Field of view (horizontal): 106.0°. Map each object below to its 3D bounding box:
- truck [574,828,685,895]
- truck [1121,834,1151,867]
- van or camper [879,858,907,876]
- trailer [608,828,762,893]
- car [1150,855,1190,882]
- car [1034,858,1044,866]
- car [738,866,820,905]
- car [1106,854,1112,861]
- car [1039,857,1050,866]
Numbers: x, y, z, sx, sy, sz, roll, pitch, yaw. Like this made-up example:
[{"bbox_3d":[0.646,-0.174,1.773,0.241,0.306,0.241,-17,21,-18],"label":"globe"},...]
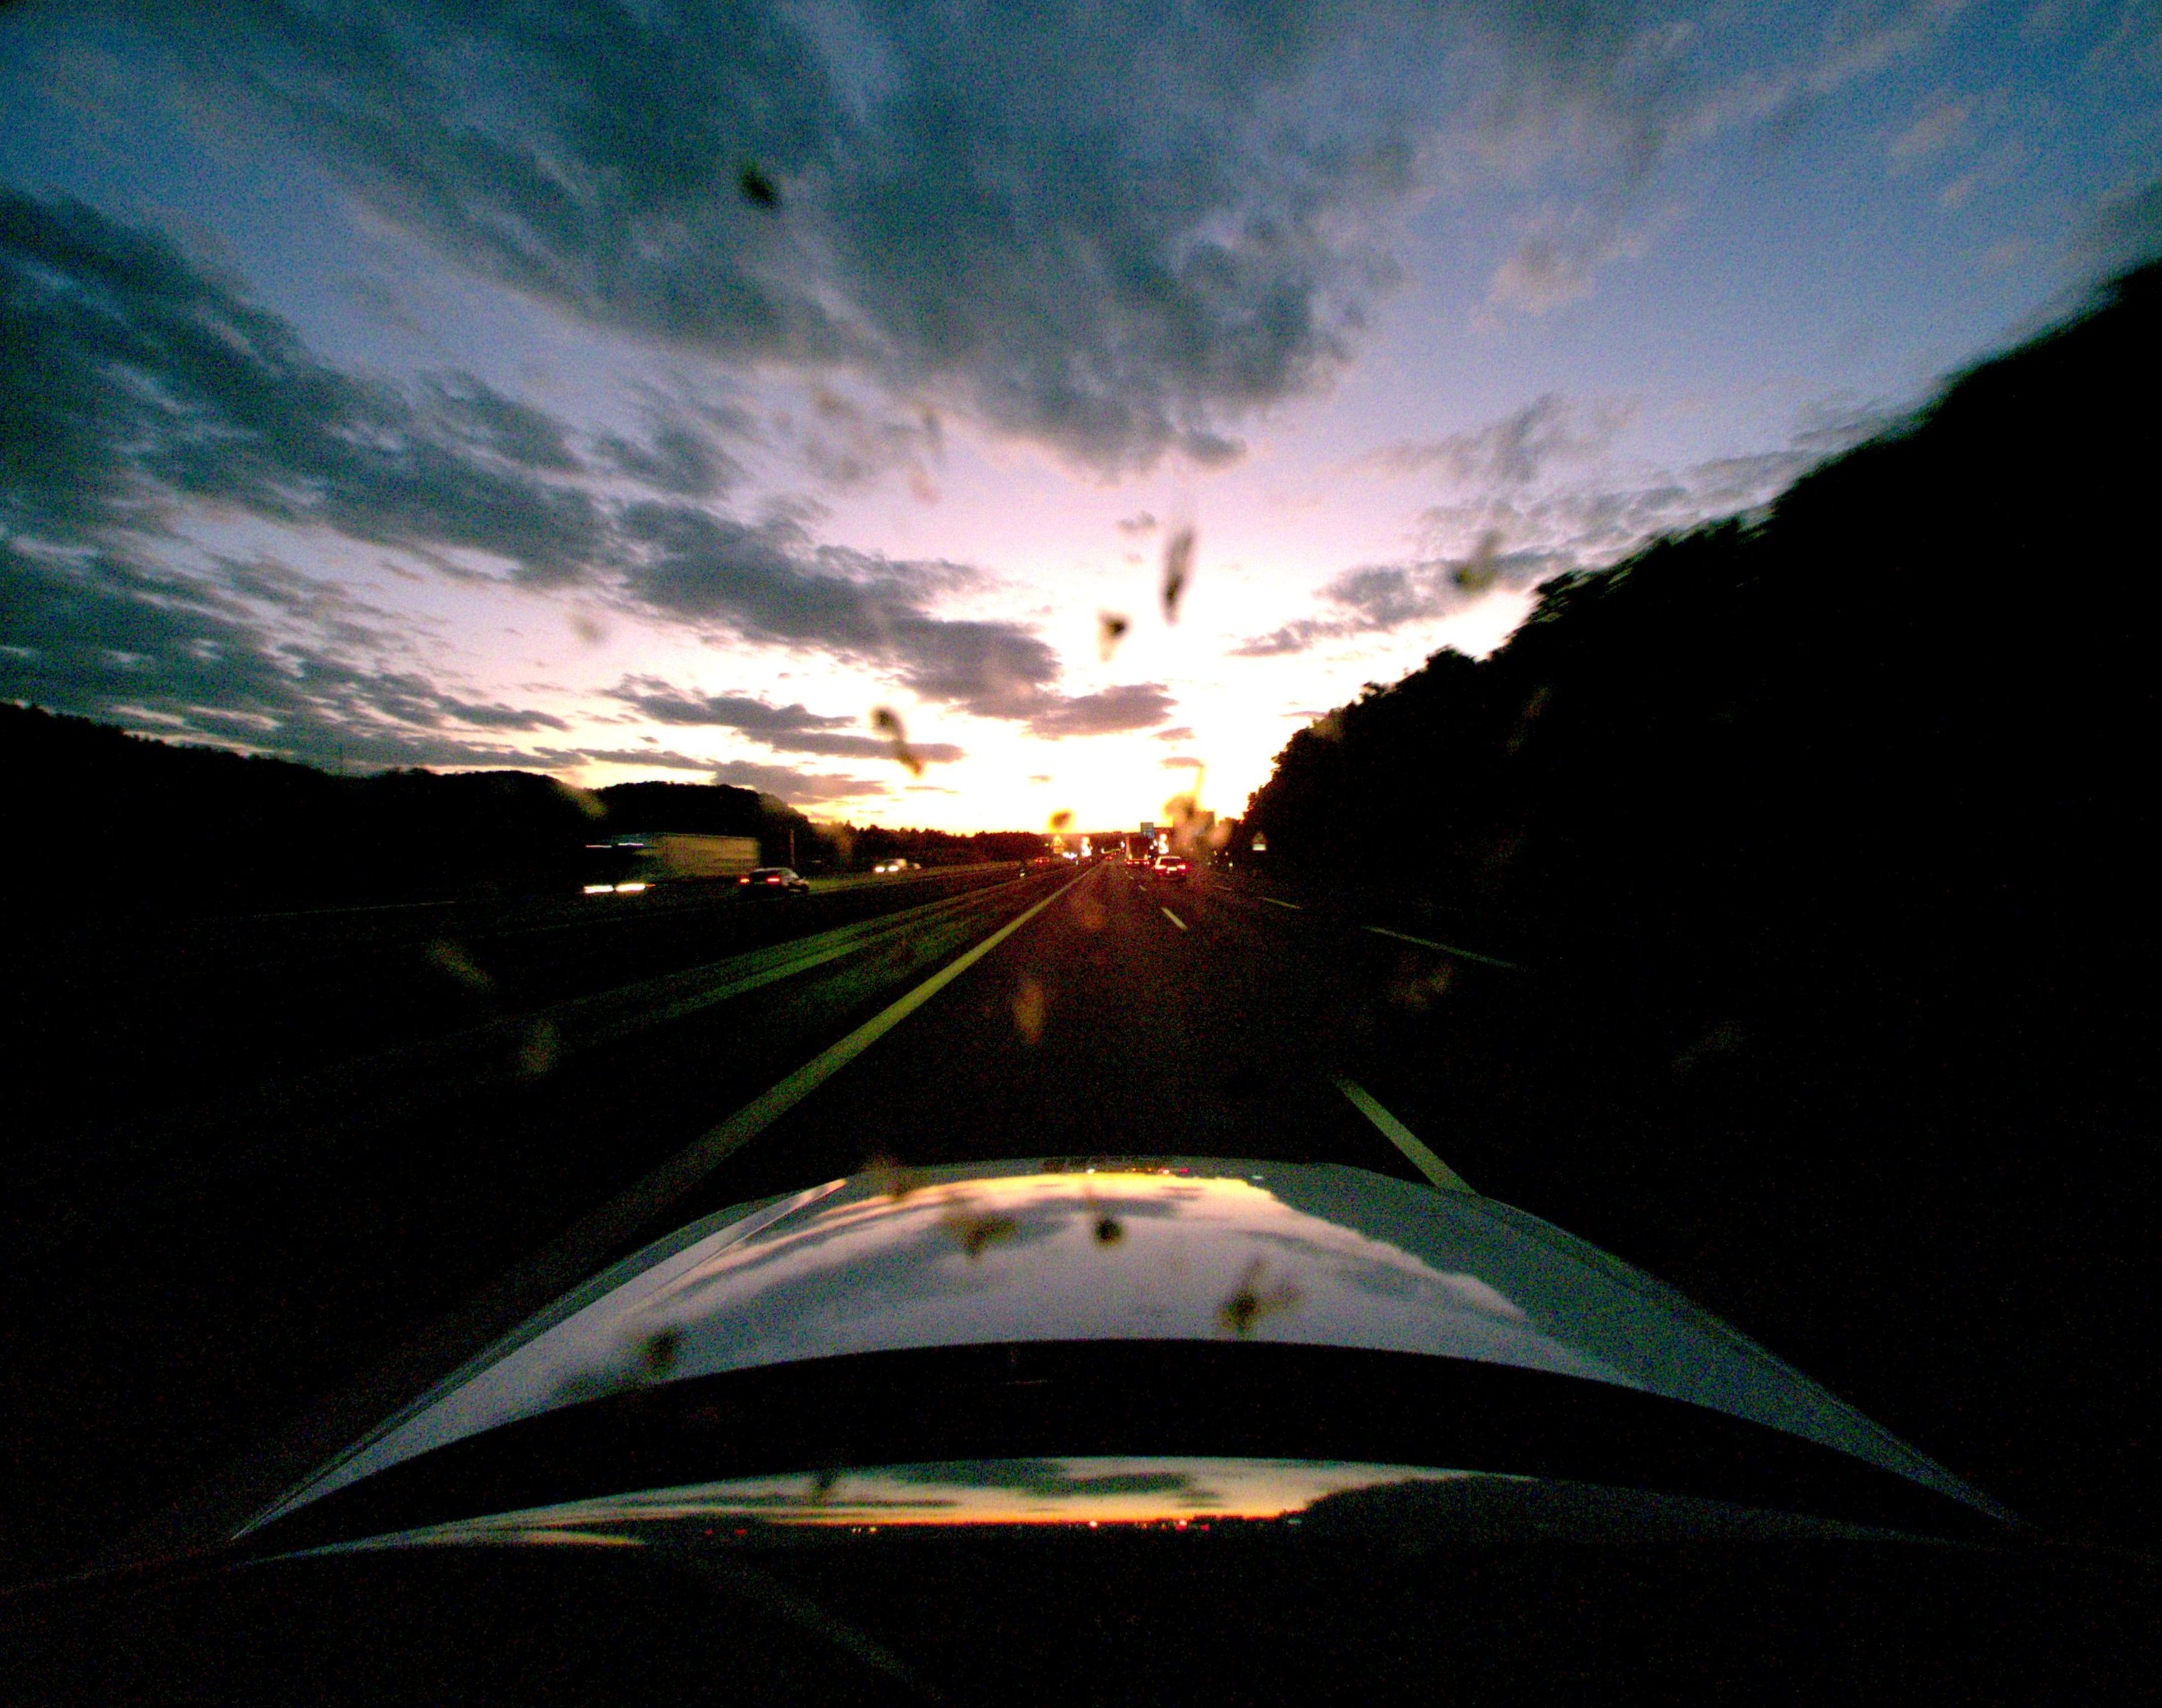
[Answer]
[{"bbox_3d":[-26.850,0.430,48.765,3.298,3.619,5.499,-3,-1,1],"label":"truck"},{"bbox_3d":[7.530,-0.446,112.874,3.497,4.301,9.894,-3,-1,2],"label":"truck"},{"bbox_3d":[-21.172,1.460,91.935,1.884,1.907,5.540,-1,0,0],"label":"van or camper"},{"bbox_3d":[-26.657,0.433,56.160,3.315,3.765,13.890,-3,-1,1],"label":"trailer"},{"bbox_3d":[5.177,0.856,48.021,1.908,1.442,4.000,-3,-1,1],"label":"car"},{"bbox_3d":[-8.898,1.658,173.141,1.631,1.546,3.397,-3,-1,2],"label":"car"},{"bbox_3d":[-13.802,1.402,37.516,1.865,1.561,4.521,-3,-1,2],"label":"car"},{"bbox_3d":[8.833,1.112,255.974,1.986,2.013,4.002,-3,-1,2],"label":"car"},{"bbox_3d":[-6.777,1.446,151.868,1.706,1.605,3.723,-3,-1,2],"label":"car"}]
